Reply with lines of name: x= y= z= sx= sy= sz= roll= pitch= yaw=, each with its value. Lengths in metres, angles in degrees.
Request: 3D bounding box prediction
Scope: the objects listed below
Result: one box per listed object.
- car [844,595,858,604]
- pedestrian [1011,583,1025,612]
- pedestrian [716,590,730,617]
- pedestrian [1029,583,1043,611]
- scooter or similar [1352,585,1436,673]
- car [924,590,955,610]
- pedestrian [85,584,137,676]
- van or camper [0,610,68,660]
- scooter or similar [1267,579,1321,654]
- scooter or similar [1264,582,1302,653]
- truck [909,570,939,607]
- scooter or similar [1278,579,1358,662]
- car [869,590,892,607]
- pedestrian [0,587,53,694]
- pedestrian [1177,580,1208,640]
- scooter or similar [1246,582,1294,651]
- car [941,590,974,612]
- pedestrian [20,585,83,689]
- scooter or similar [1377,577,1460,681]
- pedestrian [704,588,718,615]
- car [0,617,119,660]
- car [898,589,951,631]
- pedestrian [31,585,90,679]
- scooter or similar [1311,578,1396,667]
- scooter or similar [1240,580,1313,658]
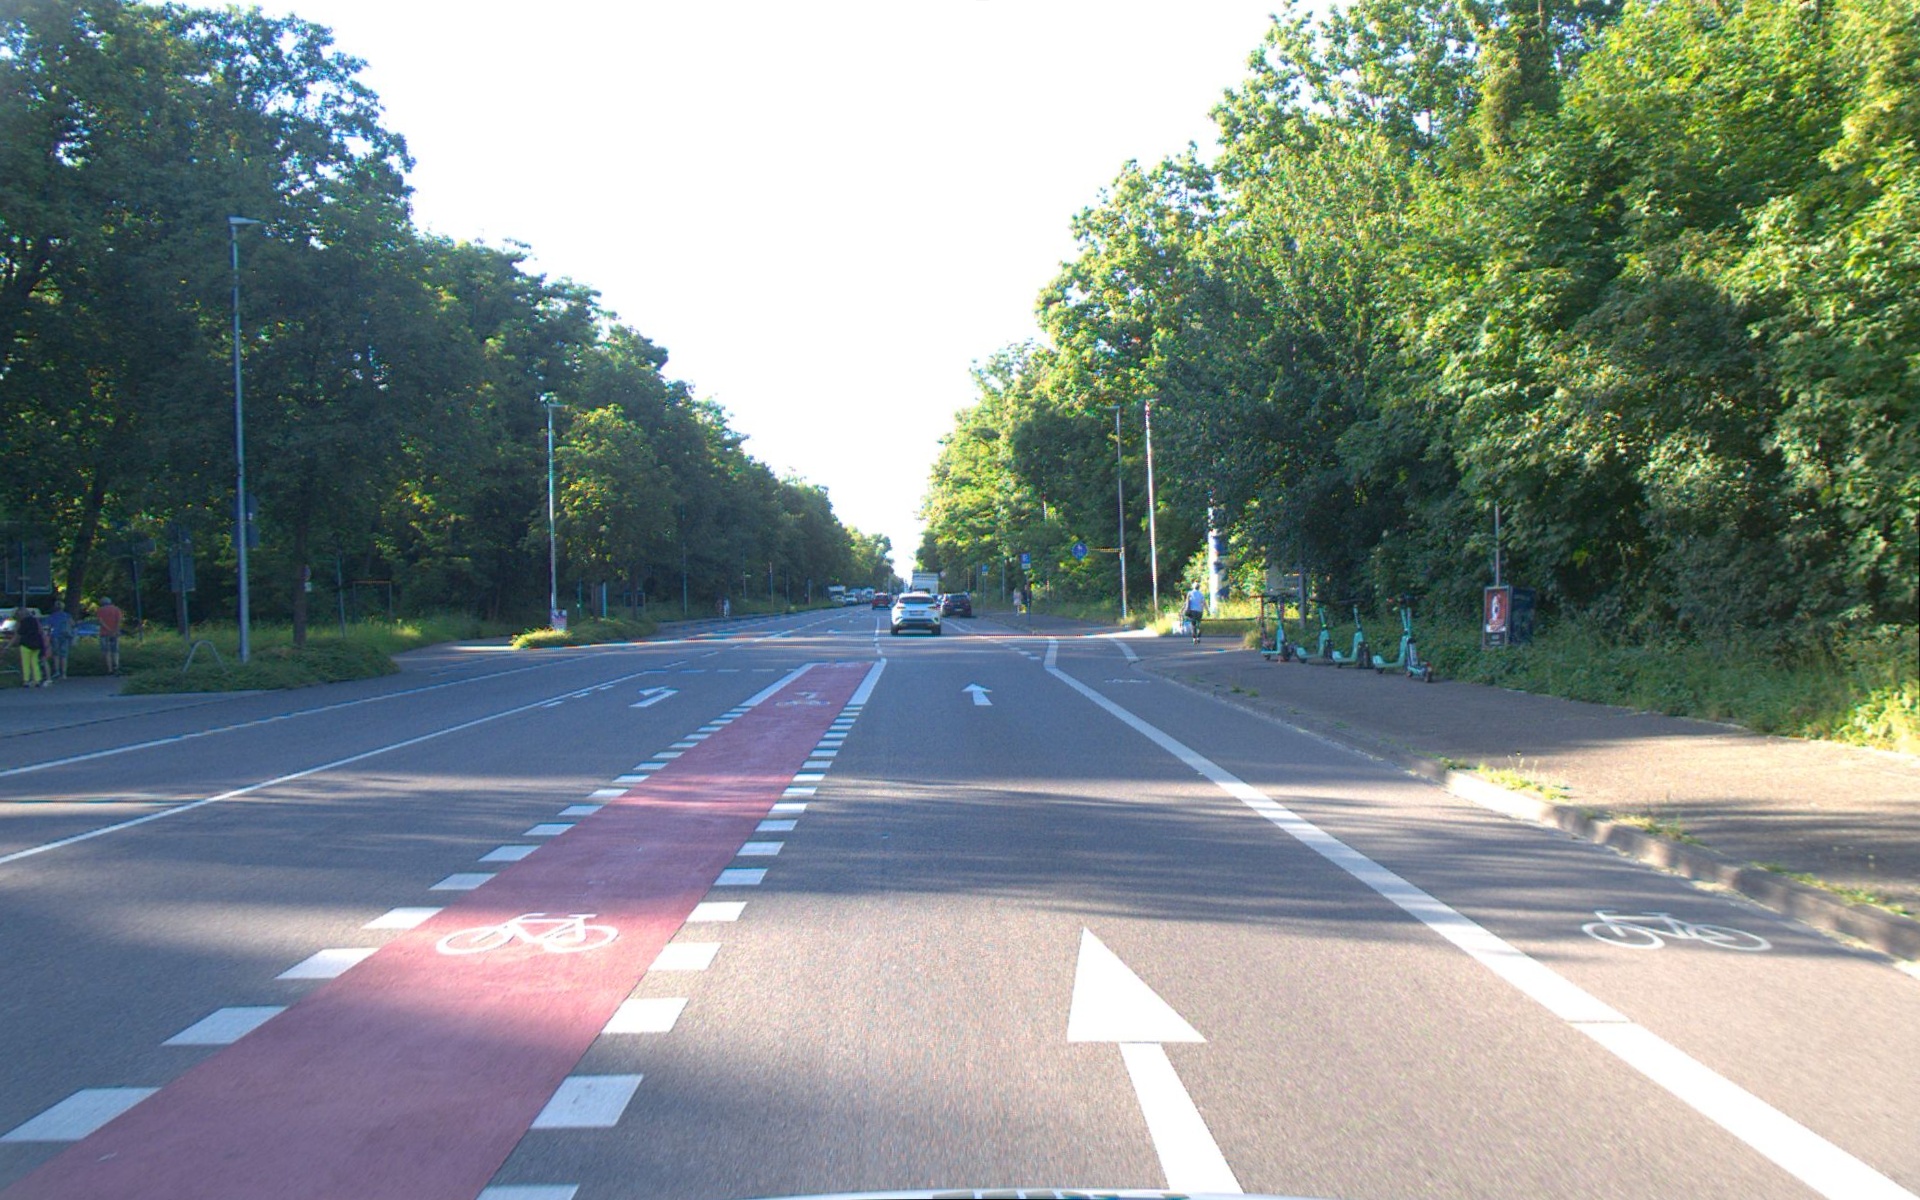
car: x=-16.637 y=-0.124 z=252.345 sx=1.954 sy=1.350 sz=3.998 roll=-2 pitch=0 yaw=-3
pedestrian: x=3.460 y=-0.160 z=98.836 sx=0.684 sy=1.682 sz=0.876 roll=-2 pitch=0 yaw=-2
pedestrian: x=-18.234 y=0.276 z=127.087 sx=0.814 sy=2.049 sz=1.269 roll=-2 pitch=0 yaw=0
pedestrian: x=4.530 y=-0.186 z=98.907 sx=0.728 sy=1.627 sz=0.797 roll=-2 pitch=0 yaw=-2
scooter or similar: x=6.812 y=0.441 z=25.995 sx=0.459 sy=1.329 sz=1.470 roll=-2 pitch=0 yaw=-23
car: x=-1.550 y=-0.010 z=122.087 sx=1.955 sy=1.350 sz=3.996 roll=-2 pitch=0 yaw=-5
pedestrian: x=-19.169 y=0.667 z=37.365 sx=0.703 sy=2.049 sz=0.746 roll=-1 pitch=0 yaw=30
van or camper: x=-40.452 y=1.471 z=69.119 sx=1.955 sy=2.049 sz=5.410 roll=-1 pitch=-3 yaw=28
scooter or similar: x=6.683 y=0.324 z=33.153 sx=0.668 sy=1.448 sz=1.681 roll=-2 pitch=0 yaw=-1
scooter or similar: x=6.757 y=0.349 z=34.667 sx=0.667 sy=1.448 sz=1.246 roll=-1 pitch=0 yaw=7
truck: x=-3.642 y=-1.127 z=165.800 sx=2.743 sy=3.632 sz=8.031 roll=0 pitch=0 yaw=-3
scooter or similar: x=6.506 y=0.356 z=30.158 sx=0.671 sy=1.448 sz=1.674 roll=-2 pitch=0 yaw=-16
car: x=-7.330 y=-0.137 z=153.202 sx=1.953 sy=1.545 sz=4.000 roll=-2 pitch=0 yaw=-1
pedestrian: x=-18.336 y=0.780 z=32.289 sx=0.701 sy=2.049 sz=0.798 roll=-1 pitch=0 yaw=13
pedestrian: x=6.326 y=0.265 z=45.004 sx=0.739 sy=1.591 sz=0.803 roll=-2 pitch=0 yaw=3
scooter or similar: x=6.774 y=0.345 z=36.207 sx=0.668 sy=1.448 sz=1.681 roll=-2 pitch=0 yaw=-1
car: x=-0.187 y=0.063 z=106.419 sx=1.953 sy=1.350 sz=3.999 roll=-2 pitch=0 yaw=-2
pedestrian: x=-18.171 y=0.733 z=33.087 sx=0.701 sy=2.049 sz=0.798 roll=-2 pitch=0 yaw=12
scooter or similar: x=6.672 y=0.397 z=24.138 sx=0.668 sy=1.448 sz=1.681 roll=-2 pitch=0 yaw=-2
pedestrian: x=-19.116 y=0.134 z=127.098 sx=0.846 sy=2.049 sz=1.269 roll=-2 pitch=0 yaw=0
car: x=-36.390 y=1.552 z=66.672 sx=1.958 sy=1.553 sz=3.990 roll=-1 pitch=0 yaw=32
car: x=-1.342 y=0.336 z=60.906 sx=1.727 sy=1.485 sz=3.814 roll=0 pitch=0 yaw=-5
pedestrian: x=-19.853 y=0.697 z=36.523 sx=0.703 sy=2.049 sz=0.873 roll=-1 pitch=0 yaw=30
scooter or similar: x=6.662 y=0.364 z=28.089 sx=0.670 sy=1.448 sz=1.675 roll=-2 pitch=0 yaw=-15
scooter or similar: x=6.076 y=0.357 z=31.828 sx=0.671 sy=1.448 sz=1.674 roll=-2 pitch=0 yaw=-16
